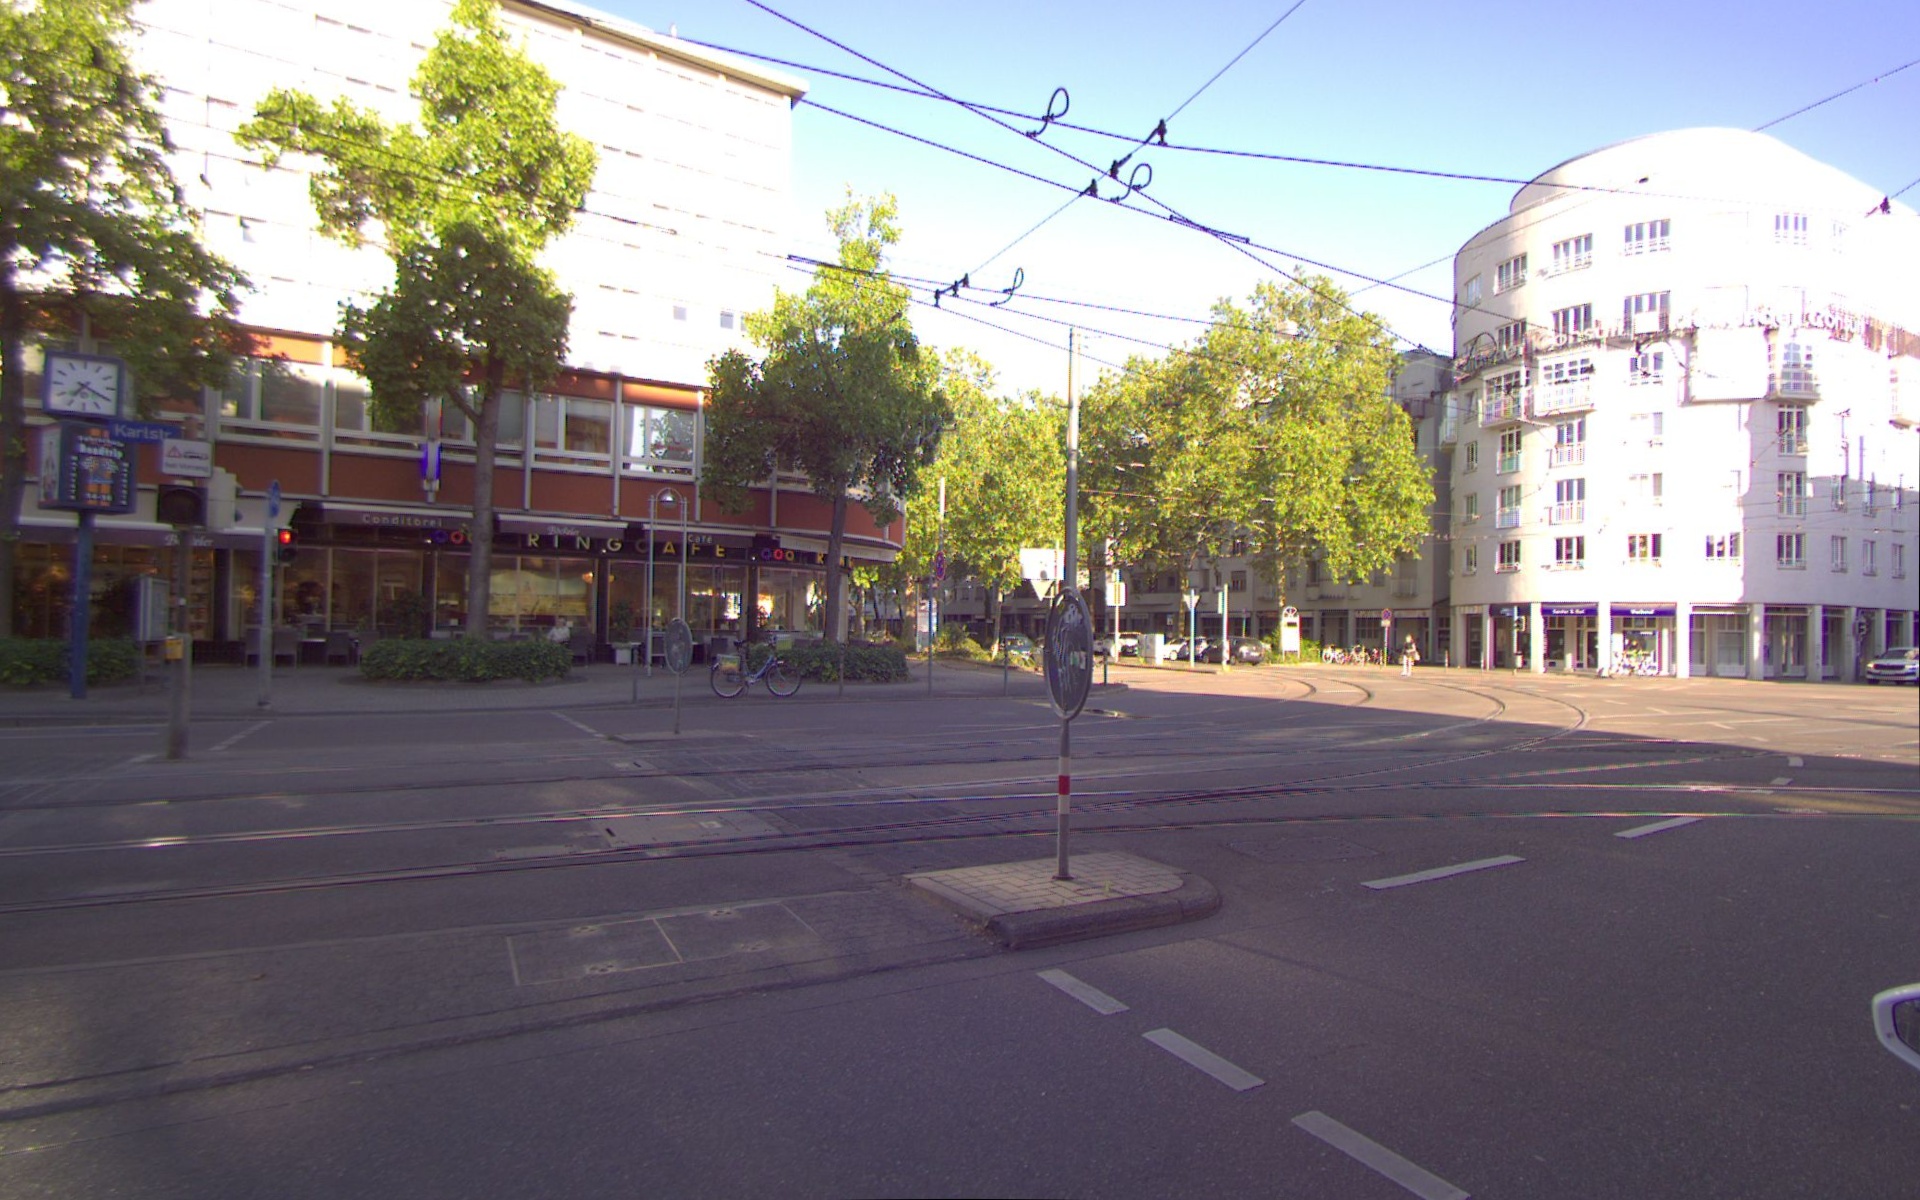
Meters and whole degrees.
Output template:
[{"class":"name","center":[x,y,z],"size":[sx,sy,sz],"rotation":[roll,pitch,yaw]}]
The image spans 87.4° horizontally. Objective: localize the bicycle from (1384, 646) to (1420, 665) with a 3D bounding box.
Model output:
[{"class":"bicycle","center":[26.937,3.388,61.232],"size":[0.808,1.122,1.936],"rotation":[1,-2,-25]}]

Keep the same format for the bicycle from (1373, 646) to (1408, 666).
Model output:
[{"class":"bicycle","center":[25.922,3.358,60.550],"size":[0.807,1.122,1.937],"rotation":[1,-2,-23]}]

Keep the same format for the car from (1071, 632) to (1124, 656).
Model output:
[{"class":"car","center":[10.876,3.482,79.441],"size":[3.953,1.738,1.786],"rotation":[2,-2,-30]}]

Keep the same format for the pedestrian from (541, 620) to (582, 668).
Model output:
[{"class":"pedestrian","center":[-10.923,1.198,27.552],"size":[0.891,1.279,0.838],"rotation":[1,-1,-13]}]

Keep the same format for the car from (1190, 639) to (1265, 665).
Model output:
[{"class":"car","center":[15.381,2.965,57.997],"size":[1.865,1.440,4.430],"rotation":[1,-2,-24]}]

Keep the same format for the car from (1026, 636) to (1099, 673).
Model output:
[{"class":"car","center":[4.291,2.294,42.739],"size":[1.858,1.439,4.447],"rotation":[2,-2,-12]}]

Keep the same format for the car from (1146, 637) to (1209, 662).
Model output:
[{"class":"car","center":[14.610,3.330,67.519],"size":[3.953,1.530,1.786],"rotation":[2,-2,-30]}]

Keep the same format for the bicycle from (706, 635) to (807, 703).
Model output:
[{"class":"bicycle","center":[-3.958,1.342,19.603],"size":[1.830,1.251,0.579],"rotation":[2,0,-24]}]

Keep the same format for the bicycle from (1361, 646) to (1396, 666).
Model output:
[{"class":"bicycle","center":[25.032,3.335,60.150],"size":[0.807,1.122,1.937],"rotation":[1,-2,-23]}]

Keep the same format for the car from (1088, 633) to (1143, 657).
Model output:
[{"class":"car","center":[11.878,3.439,76.760],"size":[3.953,1.738,1.786],"rotation":[2,-2,-30]}]

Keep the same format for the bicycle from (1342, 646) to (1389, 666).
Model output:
[{"class":"bicycle","center":[23.789,3.278,59.013],"size":[0.931,1.122,2.414],"rotation":[2,-2,-41]}]

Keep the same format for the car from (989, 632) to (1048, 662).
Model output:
[{"class":"car","center":[2.862,2.353,50.490],"size":[1.858,1.439,4.447],"rotation":[2,-2,-12]}]

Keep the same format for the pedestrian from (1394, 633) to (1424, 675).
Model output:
[{"class":"pedestrian","center":[18.680,2.253,41.819],"size":[0.686,1.704,0.867],"rotation":[0,-2,-20]}]

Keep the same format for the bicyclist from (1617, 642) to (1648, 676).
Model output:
[{"class":"bicyclist","center":[30.399,2.643,45.429],"size":[0.878,1.486,0.844],"rotation":[1,-1,10]}]

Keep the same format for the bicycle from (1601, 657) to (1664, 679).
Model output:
[{"class":"bicycle","center":[30.376,3.076,45.424],"size":[2.219,0.939,0.844],"rotation":[1,-1,10]}]

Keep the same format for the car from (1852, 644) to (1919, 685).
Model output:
[{"class":"car","center":[41.332,2.810,44.072],"size":[4.456,1.641,1.985],"rotation":[2,-2,-29]}]

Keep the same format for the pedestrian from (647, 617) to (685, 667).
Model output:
[{"class":"pedestrian","center":[-8.490,1.216,29.016],"size":[0.879,1.414,0.931],"rotation":[2,-2,-27]}]

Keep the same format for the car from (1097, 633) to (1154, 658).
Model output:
[{"class":"car","center":[12.277,3.396,74.504],"size":[3.953,1.738,1.786],"rotation":[2,-2,-30]}]
